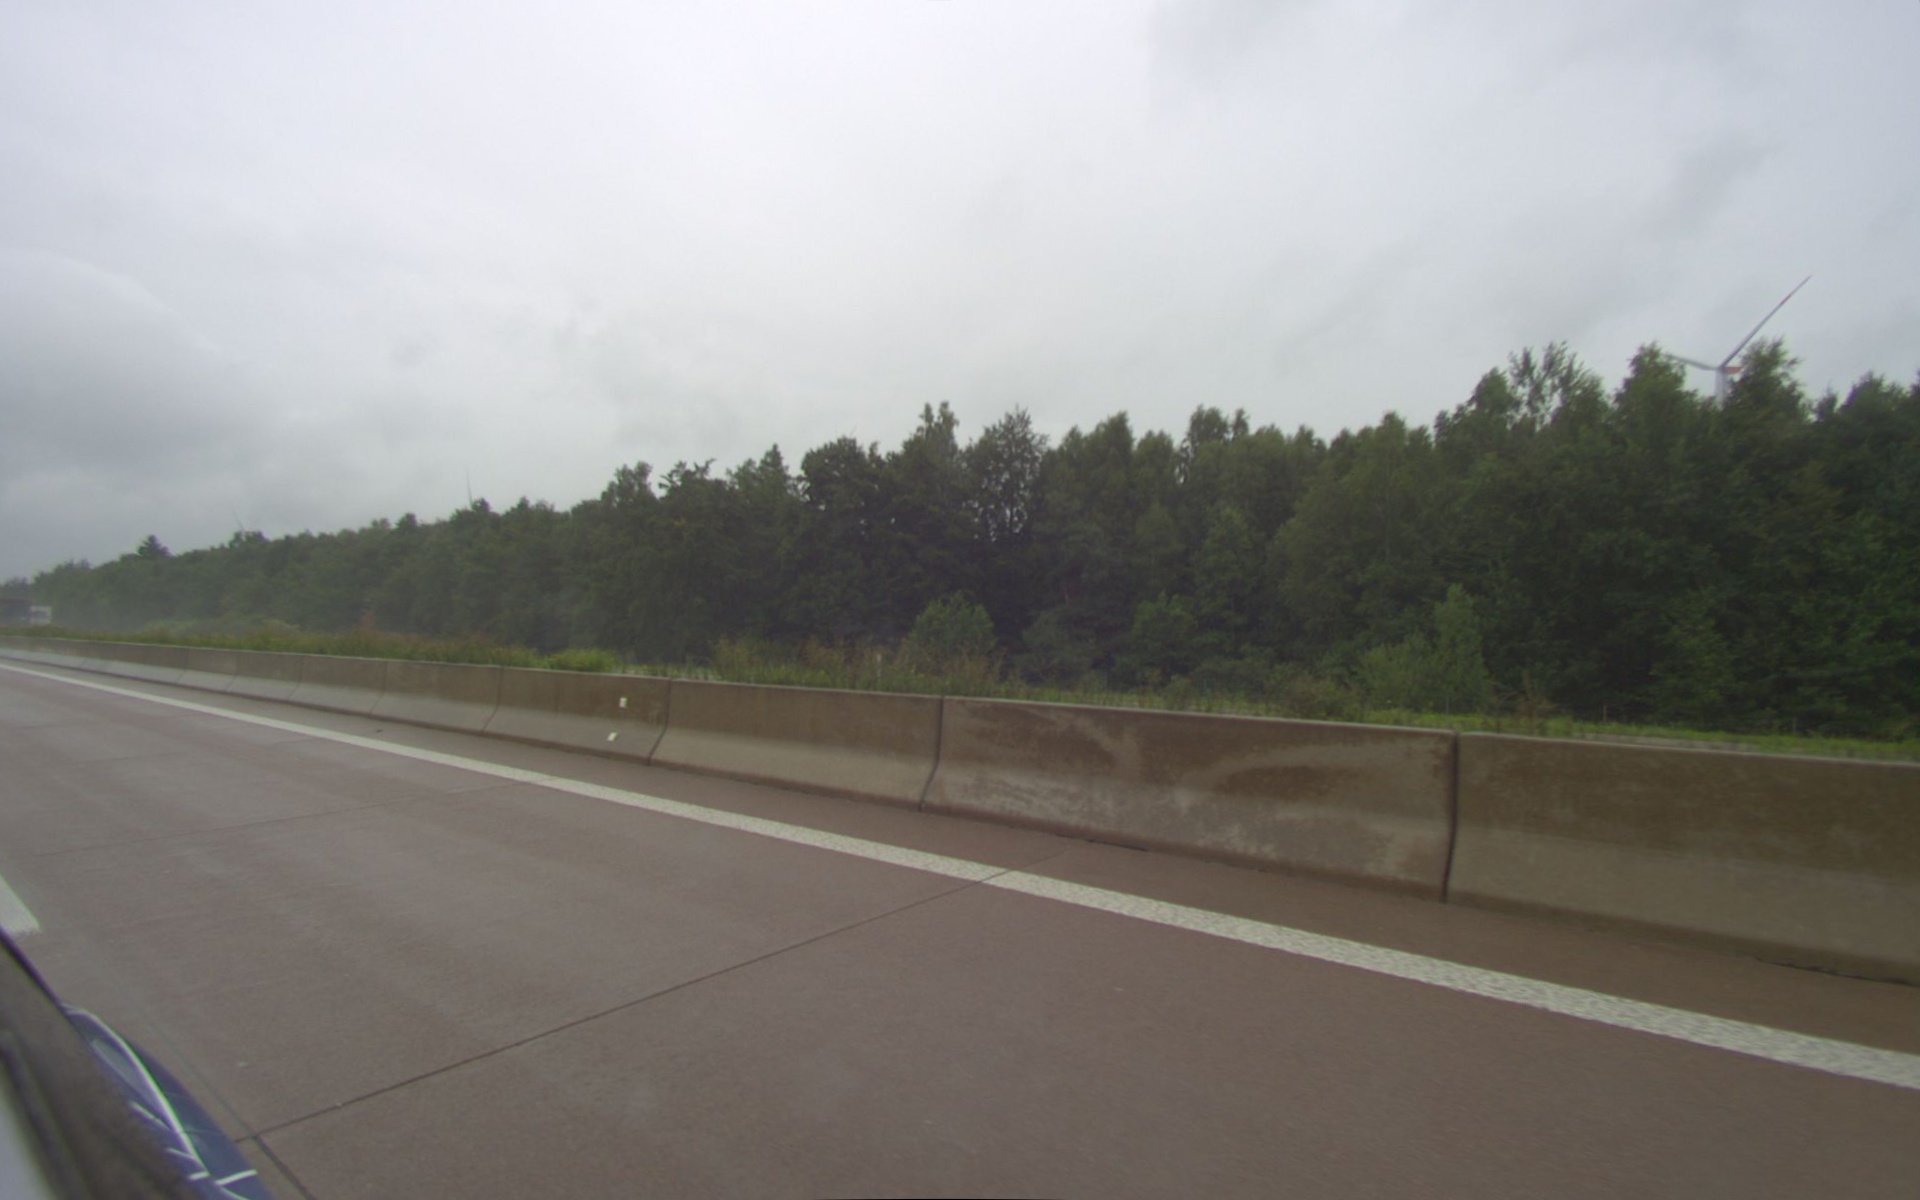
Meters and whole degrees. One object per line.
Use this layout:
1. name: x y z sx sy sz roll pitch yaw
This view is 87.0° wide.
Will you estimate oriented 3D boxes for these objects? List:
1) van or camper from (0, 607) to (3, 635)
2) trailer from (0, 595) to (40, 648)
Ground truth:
1. van or camper: -86.872 1.992 89.199 6.483 2.423 2.763 -1 2 40
2. trailer: -97.406 2.173 103.056 14.229 5.097 3.949 -2 -1 41
